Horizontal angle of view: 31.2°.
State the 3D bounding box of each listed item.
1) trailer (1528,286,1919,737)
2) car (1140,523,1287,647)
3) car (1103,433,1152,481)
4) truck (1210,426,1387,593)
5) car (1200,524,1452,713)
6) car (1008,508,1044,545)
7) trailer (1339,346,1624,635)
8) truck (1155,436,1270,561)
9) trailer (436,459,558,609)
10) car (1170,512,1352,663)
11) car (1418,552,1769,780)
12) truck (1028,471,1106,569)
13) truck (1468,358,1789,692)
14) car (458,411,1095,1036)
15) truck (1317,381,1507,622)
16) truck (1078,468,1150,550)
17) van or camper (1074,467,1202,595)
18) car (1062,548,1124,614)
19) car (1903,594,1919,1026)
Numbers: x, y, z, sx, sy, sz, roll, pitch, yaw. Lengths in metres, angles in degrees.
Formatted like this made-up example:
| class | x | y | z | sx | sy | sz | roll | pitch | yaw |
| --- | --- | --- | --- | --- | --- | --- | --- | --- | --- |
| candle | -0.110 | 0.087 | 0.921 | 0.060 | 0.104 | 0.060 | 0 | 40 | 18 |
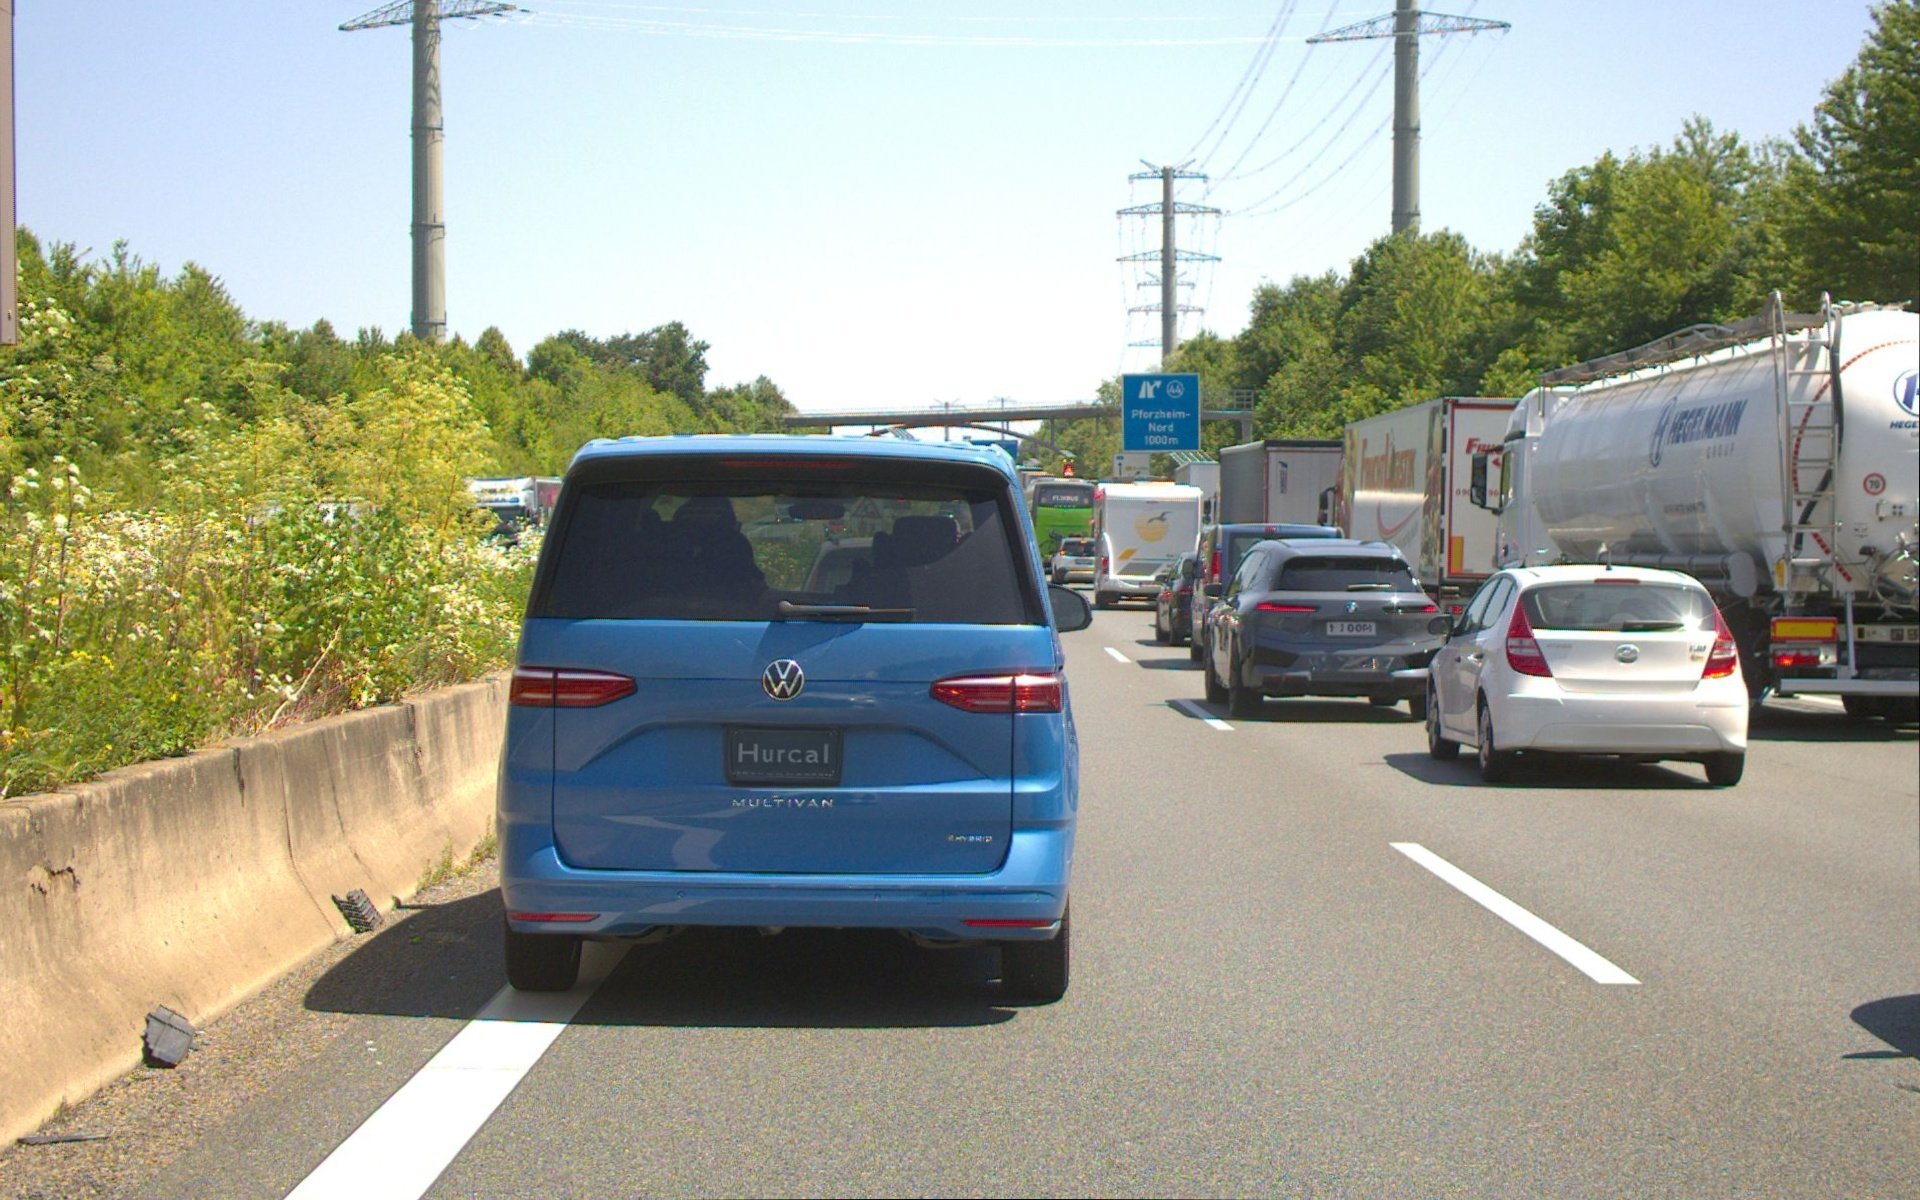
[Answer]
| class | x | y | z | sx | sy | sz | roll | pitch | yaw |
| --- | --- | --- | --- | --- | --- | --- | --- | --- | --- |
| trailer | 8.188 | -0.827 | 35.019 | 2.761 | 3.831 | 11.487 | 0 | 1 | -1 |
| car | 4.128 | -0.233 | 56.624 | 1.923 | 1.919 | 4.236 | -1 | 0 | -2 |
| car | 7.484 | -6.374 | 153.695 | 1.993 | 2.007 | 4.000 | 0 | 0 | 0 |
| truck | 8.187 | -2.100 | 85.265 | 3.006 | 3.754 | 15.713 | 0 | 0 | 1 |
| car | 3.493 | 0.164 | 33.641 | 1.999 | 1.709 | 4.625 | 0 | 0 | 1 |
| car | 3.859 | -4.269 | 201.137 | 1.993 | 2.118 | 4.000 | 0 | 0 | -1 |
| trailer | 8.732 | -1.767 | 59.239 | 2.912 | 4.453 | 12.155 | 0 | 1 | -1 |
| truck | 8.120 | -3.182 | 111.937 | 2.895 | 3.754 | 13.345 | 0 | 0 | 1 |
| trailer | -15.918 | -2.245 | 118.742 | 3.322 | 5.030 | 6.704 | 0 | 0 | 0 |
| car | 4.057 | -0.163 | 47.006 | 1.923 | 1.919 | 4.236 | -1 | 0 | -2 |
| car | 4.398 | 0.428 | 24.434 | 1.817 | 1.480 | 4.000 | 0 | 0 | 1 |
| truck | 4.199 | -3.100 | 136.449 | 2.895 | 3.754 | 10.140 | 0 | 0 | 1 |
| truck | 8.108 | -0.899 | 42.350 | 2.793 | 3.823 | 5.572 | 0 | 1 | -1 |
| car | -0.568 | 0.345 | 12.566 | 1.920 | 1.880 | 4.000 | 1 | 1 | 0 |
| truck | 8.664 | -1.855 | 66.428 | 2.912 | 4.453 | 5.143 | 0 | 1 | -1 |
| truck | 8.762 | -5.166 | 196.829 | 3.566 | 4.502 | 10.294 | 0 | 0 | -1 |
| van or camper | 4.321 | -1.658 | 84.775 | 2.957 | 3.011 | 7.102 | 0 | 0 | 1 |
| car | 4.131 | -0.582 | 107.352 | 1.836 | 1.992 | 4.000 | -1 | 0 | 1 |
| car | 4.049 | 0.695 | 9.461 | 1.747 | 1.438 | 4.313 | 0 | 0 | 1 |
